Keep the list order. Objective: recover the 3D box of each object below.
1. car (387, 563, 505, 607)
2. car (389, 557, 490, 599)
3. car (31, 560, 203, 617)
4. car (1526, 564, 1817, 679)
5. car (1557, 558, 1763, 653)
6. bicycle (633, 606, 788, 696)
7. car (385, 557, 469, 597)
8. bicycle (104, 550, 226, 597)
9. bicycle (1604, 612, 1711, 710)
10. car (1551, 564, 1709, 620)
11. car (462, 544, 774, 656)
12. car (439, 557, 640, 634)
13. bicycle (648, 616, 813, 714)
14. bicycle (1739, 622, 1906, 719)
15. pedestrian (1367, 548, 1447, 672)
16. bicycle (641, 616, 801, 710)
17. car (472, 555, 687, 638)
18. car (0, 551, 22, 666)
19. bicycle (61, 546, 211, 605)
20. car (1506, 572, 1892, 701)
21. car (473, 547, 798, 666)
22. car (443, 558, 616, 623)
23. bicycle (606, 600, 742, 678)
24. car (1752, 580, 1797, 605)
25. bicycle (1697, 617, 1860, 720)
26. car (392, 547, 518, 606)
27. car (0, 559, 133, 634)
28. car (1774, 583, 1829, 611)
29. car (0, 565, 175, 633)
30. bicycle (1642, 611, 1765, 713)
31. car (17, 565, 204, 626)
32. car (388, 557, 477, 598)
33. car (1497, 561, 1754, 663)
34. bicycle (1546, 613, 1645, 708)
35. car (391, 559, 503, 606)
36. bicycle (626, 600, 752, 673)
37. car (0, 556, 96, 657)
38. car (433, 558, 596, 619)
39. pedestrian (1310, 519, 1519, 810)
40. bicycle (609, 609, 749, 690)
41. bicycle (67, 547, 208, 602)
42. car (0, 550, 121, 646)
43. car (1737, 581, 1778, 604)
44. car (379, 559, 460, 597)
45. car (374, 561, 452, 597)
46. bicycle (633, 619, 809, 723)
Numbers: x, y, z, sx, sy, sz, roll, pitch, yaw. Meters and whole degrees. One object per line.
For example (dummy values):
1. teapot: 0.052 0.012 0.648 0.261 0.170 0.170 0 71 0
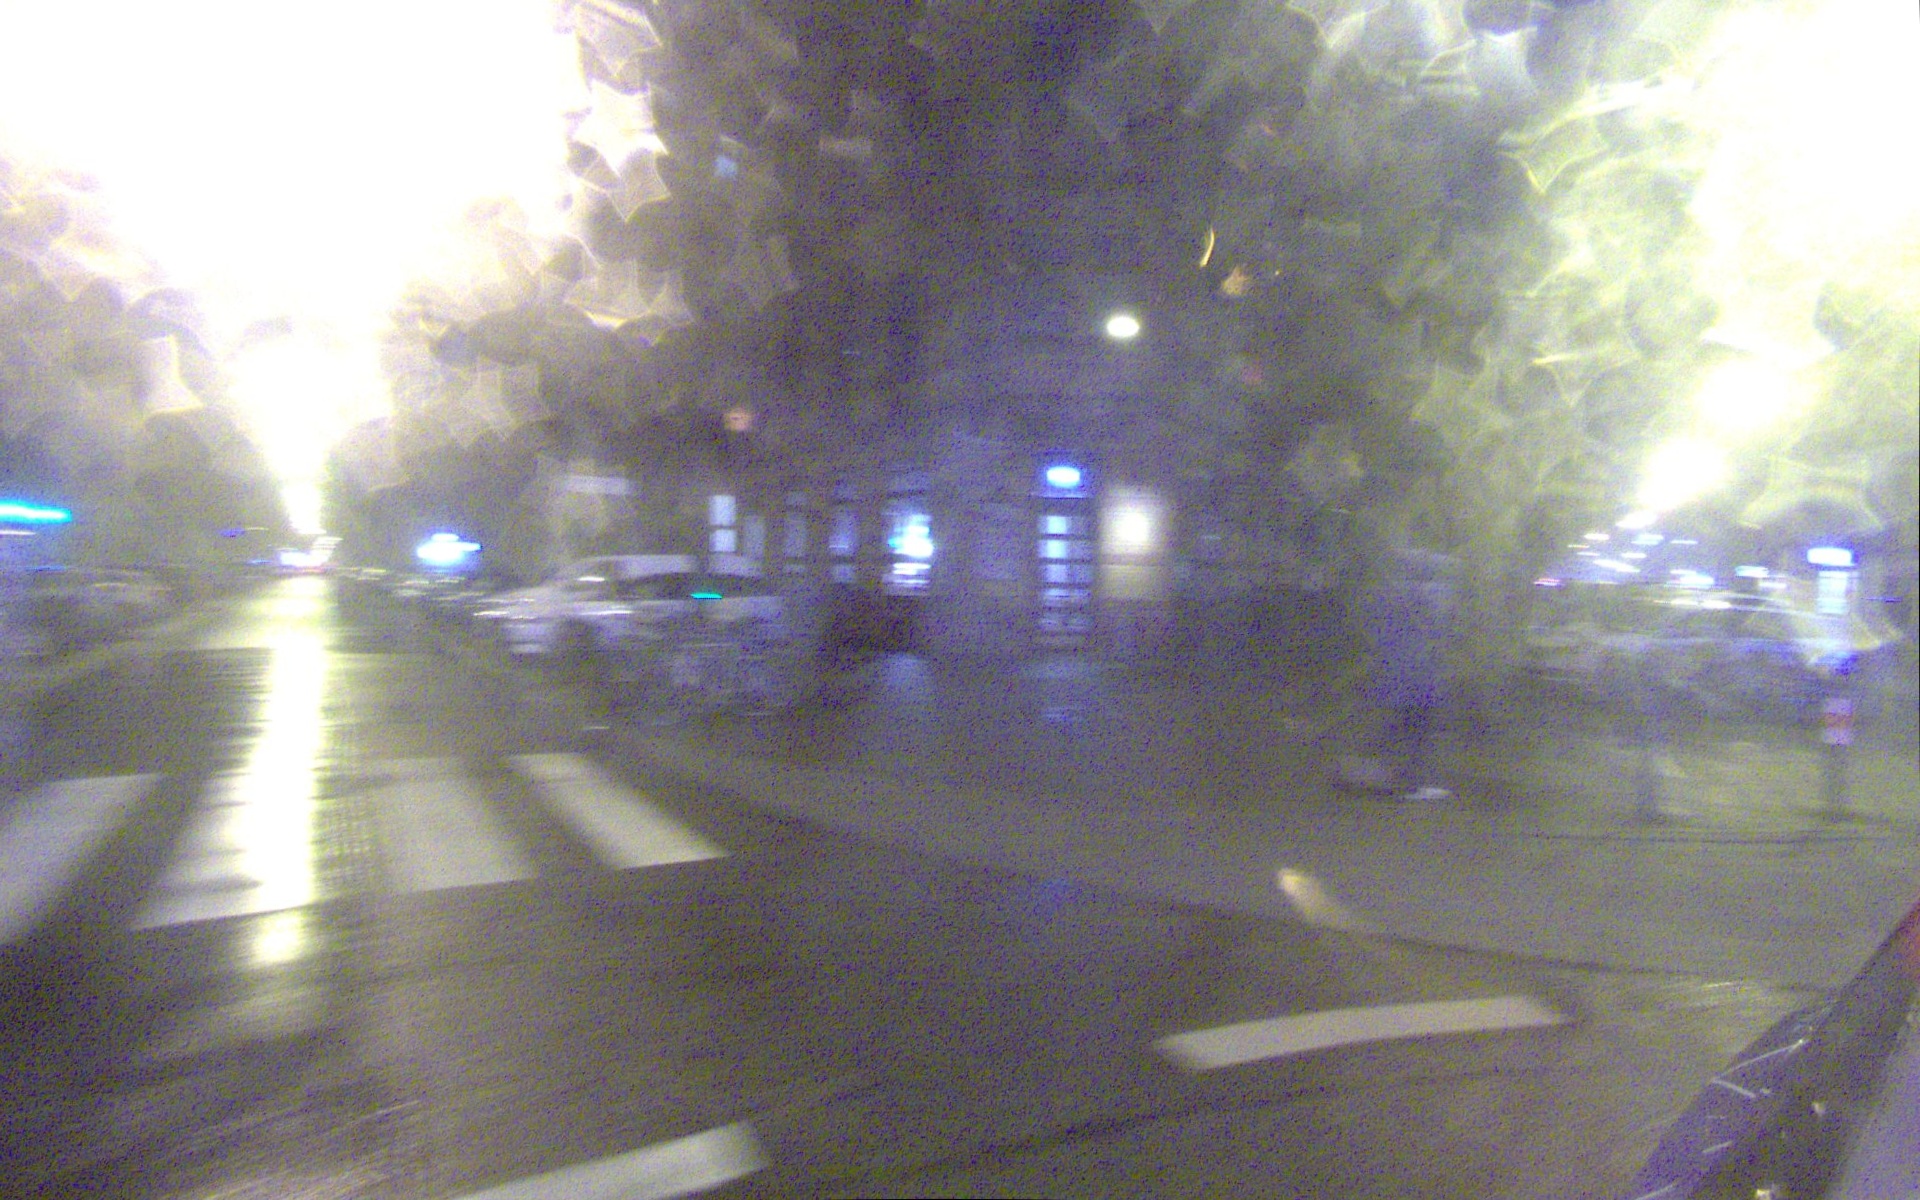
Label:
1. car: -19.753 -0.583 38.921 3.920 1.571 2.002 -2 1 -29
2. car: -23.272 -0.974 45.284 3.920 1.794 2.002 -2 1 -29
3. car: -25.355 -0.356 30.551 1.743 1.597 3.653 -1 1 31
4. car: 12.097 0.323 17.387 3.667 1.733 1.773 2 2 -2
5. car: 16.711 0.098 24.281 3.667 2.053 1.723 2 2 -2
6. bicycle: -2.984 0.593 12.212 1.775 1.021 0.404 1 1 -33
7. car: -28.761 -1.222 54.607 3.920 2.039 2.002 1 1 -31
8. bicycle: -36.117 -1.172 46.084 1.985 2.039 3.955 2 1 31
9. bicycle: 8.768 0.733 12.789 0.330 1.106 1.644 2 1 6
10. car: 25.532 -0.338 38.686 4.626 2.004 1.978 -1 2 4
11. car: -6.546 -0.024 19.704 5.442 1.914 2.000 0 1 -35
12. car: -10.592 -0.128 25.600 4.378 1.784 2.000 0 1 -35
13. bicycle: -2.569 0.704 11.449 1.775 1.021 0.404 1 1 -33
14. bicycle: 10.592 0.835 12.499 0.329 1.039 1.650 2 1 -14
15. pedestrian: 6.865 0.120 15.551 0.795 1.839 0.792 -1 3 -33
16. bicycle: -2.767 0.703 11.813 1.775 1.021 0.380 1 1 -33
17. car: -8.848 -0.098 23.672 4.378 1.784 2.000 0 1 -35
18. car: -14.872 0.162 13.120 1.743 1.597 3.653 -1 1 31
19. bicycle: -30.303 -0.891 37.296 1.989 2.039 3.946 2 1 38
20. car: 10.680 0.472 14.903 4.187 1.593 1.770 2 2 5
21. car: -5.507 0.066 17.481 5.000 1.784 2.000 0 1 -35
22. car: -12.601 -0.280 29.724 4.378 1.784 2.000 0 1 -35
23. bicycle: -3.978 0.528 14.144 1.775 1.021 0.404 1 1 -33
24. car: 53.669 -0.476 66.773 1.838 1.600 3.693 0 1 32
25. bicycle: 9.946 0.802 12.371 0.329 1.039 1.650 2 3 -12
26. car: -18.230 -0.852 36.576 3.920 2.039 2.002 -2 0 -29
27. car: -20.782 -0.072 22.246 1.743 1.597 3.653 -1 1 31
28. car: 47.437 -0.174 57.112 1.838 1.497 3.693 0 1 32
29. car: -22.480 -0.055 25.699 1.743 1.597 3.653 -1 1 31
30. bicycle: 9.239 0.738 12.640 0.330 1.038 1.647 0 5 2
31. car: -23.636 -0.153 28.281 1.743 1.597 3.653 -1 1 31
32. car: -27.099 -1.140 51.971 3.920 2.039 2.002 1 1 -31
33. car: 12.734 0.197 19.529 3.720 1.733 1.750 2 2 -2
34. bicycle: 8.115 0.741 12.986 0.330 1.039 1.644 2 3 6
35. car: -20.744 -0.733 40.957 3.920 1.795 2.002 -2 1 -29
36. bicycle: -3.958 0.514 14.851 1.743 1.021 0.404 1 1 -33
37. car: -16.279 0.130 15.993 1.743 1.597 3.653 -1 1 31
38. car: -13.886 -0.350 31.595 4.378 1.784 2.000 0 1 -35
39. pedestrian: 3.137 0.399 7.042 0.963 1.856 0.881 0 1 -21
40. bicycle: -3.757 0.641 13.610 1.775 1.021 0.404 1 1 -33
41. bicycle: -32.041 -0.965 39.499 1.990 2.039 3.945 2 1 38
42. car: -17.776 -0.017 17.985 1.743 1.683 4.062 -1 1 31
43. car: 56.306 -0.535 71.478 1.838 1.600 3.693 0 1 32
44. car: -30.469 -1.219 57.041 3.920 2.039 2.002 1 1 -31
45. car: -32.129 -1.217 59.443 3.920 2.039 2.002 1 1 -31
46. bicycle: -2.536 0.726 10.841 1.775 1.021 0.455 1 1 -33
